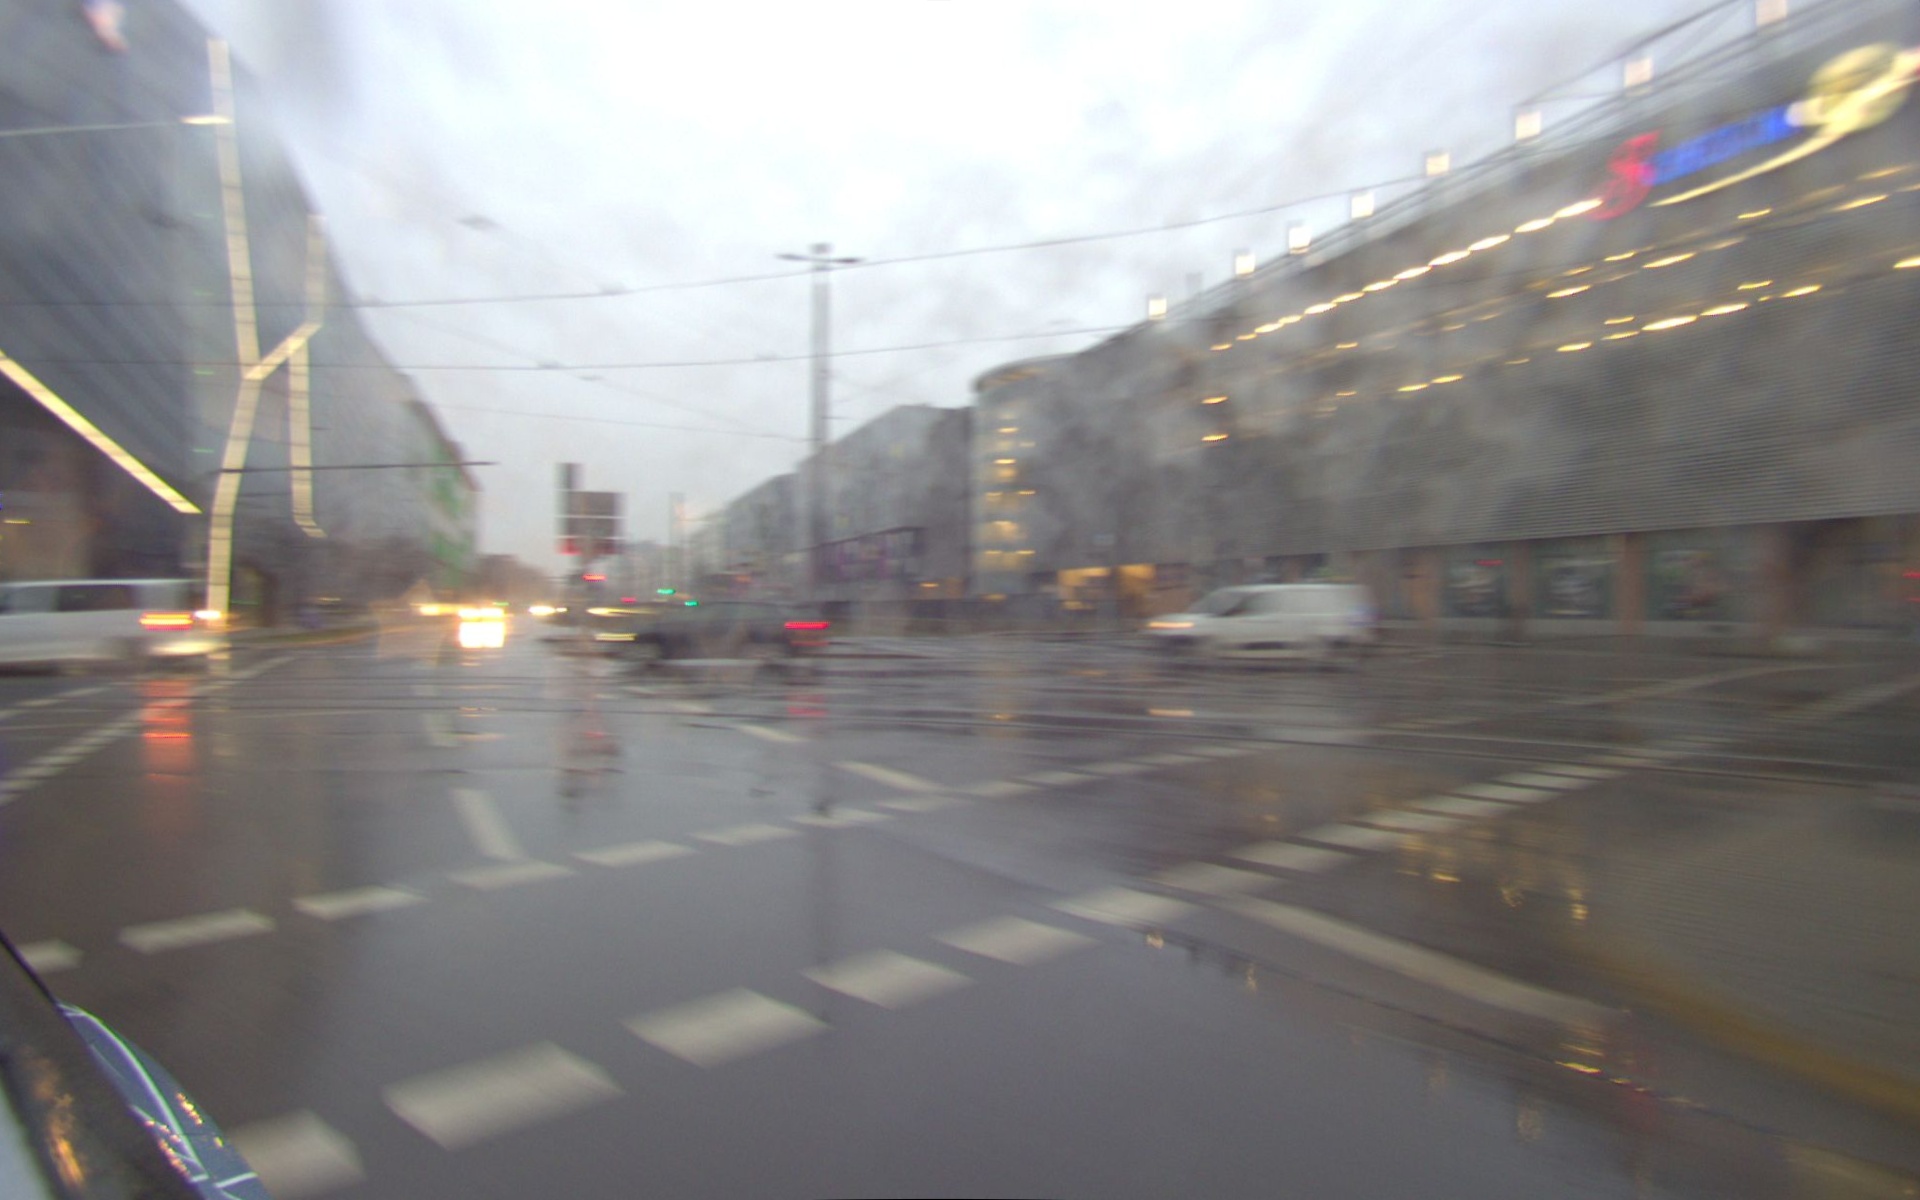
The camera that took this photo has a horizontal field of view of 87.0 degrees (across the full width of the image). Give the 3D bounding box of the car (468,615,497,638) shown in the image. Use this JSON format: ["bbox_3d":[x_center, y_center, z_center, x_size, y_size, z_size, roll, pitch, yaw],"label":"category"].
[{"bbox_3d":[-36.806,1.998,78.131,1.802,1.674,4.013,0,-1,-22],"label":"car"}]

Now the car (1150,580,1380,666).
[{"bbox_3d":[6.474,0.488,21.960,4.563,1.732,1.922,0,-1,13],"label":"car"}]

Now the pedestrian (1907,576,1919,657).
[{"bbox_3d":[29.915,0.515,30.887,0.949,2.457,1.117,1,0,-21],"label":"pedestrian"}]

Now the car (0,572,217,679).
[{"bbox_3d":[-18.902,0.510,20.752,5.564,2.074,1.959,0,-1,-17],"label":"car"}]

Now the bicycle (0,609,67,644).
[{"bbox_3d":[-29.941,0.843,32.659,1.573,1.078,0.644,-1,0,-21],"label":"bicycle"}]

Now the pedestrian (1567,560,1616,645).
[{"bbox_3d":[22.467,0.084,36.021,1.094,2.947,0.969,1,0,-21],"label":"pedestrian"}]

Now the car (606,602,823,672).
[{"bbox_3d":[-5.243,0.778,22.014,4.358,1.455,1.630,0,-1,-2],"label":"car"}]
